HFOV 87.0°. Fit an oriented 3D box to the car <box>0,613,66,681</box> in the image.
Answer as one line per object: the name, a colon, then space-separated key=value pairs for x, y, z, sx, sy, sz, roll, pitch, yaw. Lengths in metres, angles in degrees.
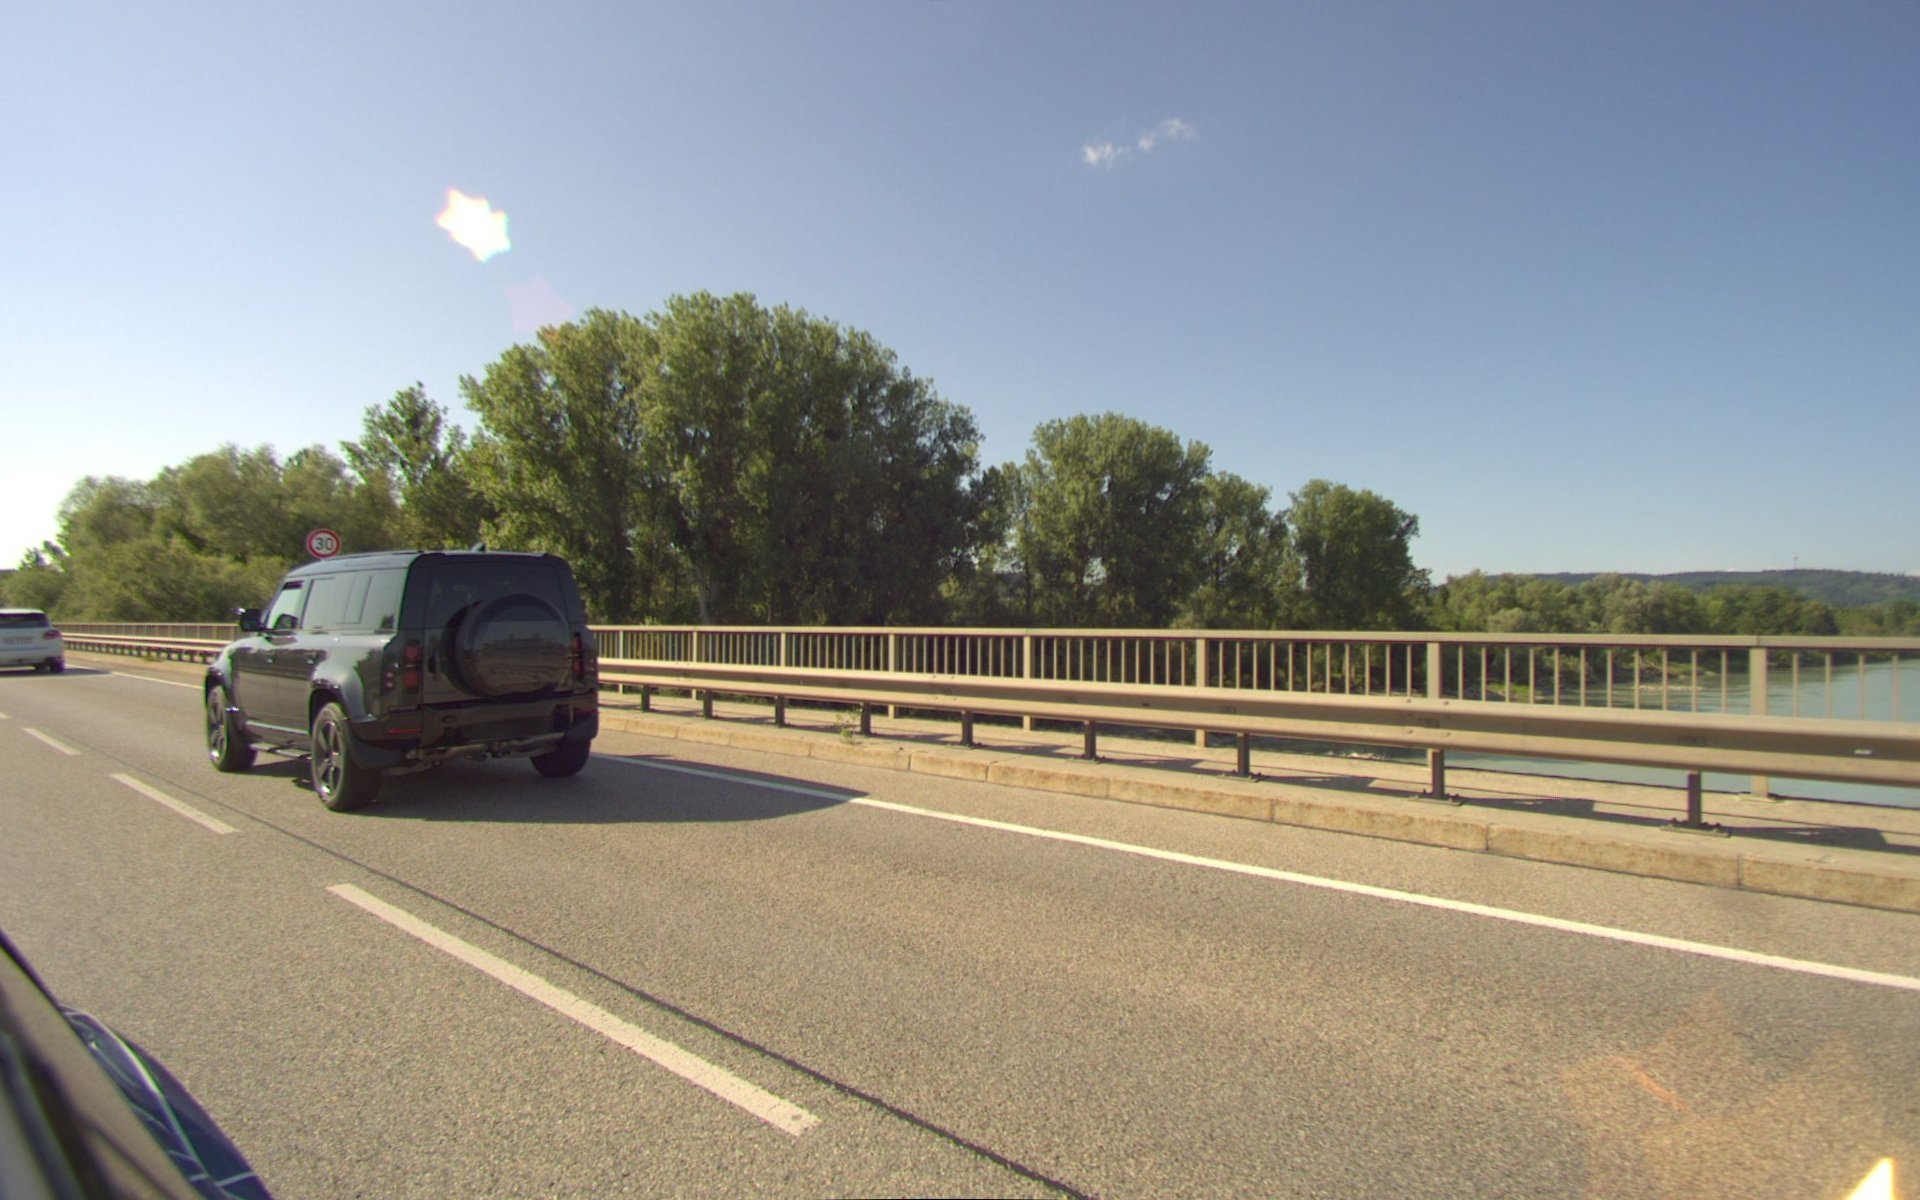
car: x=-25.396 y=1.238 z=26.856 sx=4.596 sy=1.664 sz=1.962 roll=-2 pitch=-1 yaw=41

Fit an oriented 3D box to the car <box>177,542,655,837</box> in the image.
car: x=-5.004 y=0.614 z=8.920 sx=5.066 sy=1.888 sz=2.017 roll=-1 pitch=-1 yaw=40
